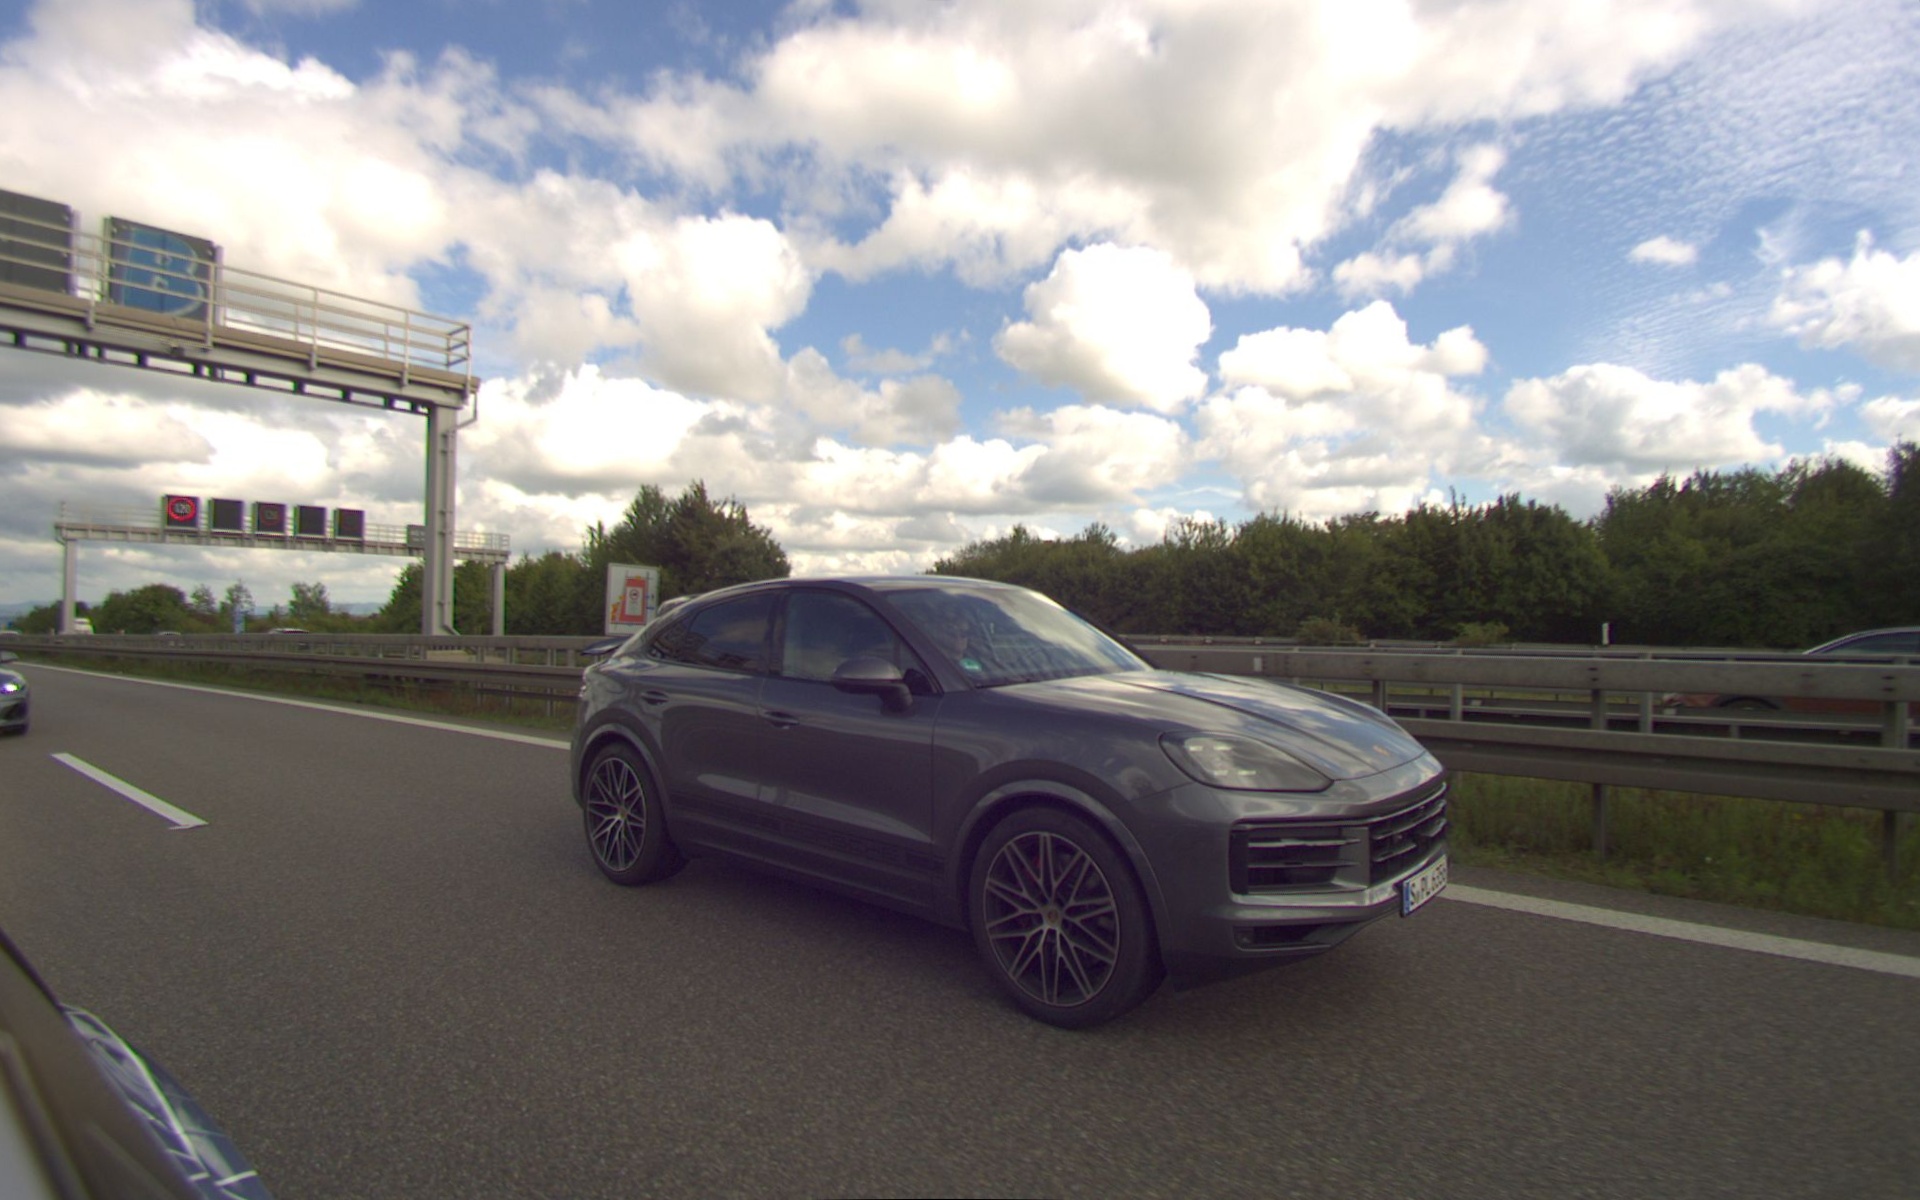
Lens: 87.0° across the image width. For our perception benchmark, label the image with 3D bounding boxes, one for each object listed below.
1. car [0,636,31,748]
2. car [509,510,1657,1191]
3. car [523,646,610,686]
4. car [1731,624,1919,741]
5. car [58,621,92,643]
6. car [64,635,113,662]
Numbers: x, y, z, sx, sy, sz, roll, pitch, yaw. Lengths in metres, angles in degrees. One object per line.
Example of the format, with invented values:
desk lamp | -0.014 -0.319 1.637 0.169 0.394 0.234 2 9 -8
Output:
car | -13.873 1.153 13.319 4.939 1.312 1.854 -1 -1 41
car | -0.007 0.651 4.984 5.496 1.648 1.893 -1 -1 41
car | -15.341 2.526 39.351 3.872 1.413 1.509 -1 -1 40
car | 11.004 0.879 10.994 4.111 1.229 1.509 -1 -1 40
car | -94.940 3.393 108.513 4.573 2.301 1.978 -1 -1 39
car | -58.141 3.226 67.513 4.427 1.648 1.709 -1 -1 39
